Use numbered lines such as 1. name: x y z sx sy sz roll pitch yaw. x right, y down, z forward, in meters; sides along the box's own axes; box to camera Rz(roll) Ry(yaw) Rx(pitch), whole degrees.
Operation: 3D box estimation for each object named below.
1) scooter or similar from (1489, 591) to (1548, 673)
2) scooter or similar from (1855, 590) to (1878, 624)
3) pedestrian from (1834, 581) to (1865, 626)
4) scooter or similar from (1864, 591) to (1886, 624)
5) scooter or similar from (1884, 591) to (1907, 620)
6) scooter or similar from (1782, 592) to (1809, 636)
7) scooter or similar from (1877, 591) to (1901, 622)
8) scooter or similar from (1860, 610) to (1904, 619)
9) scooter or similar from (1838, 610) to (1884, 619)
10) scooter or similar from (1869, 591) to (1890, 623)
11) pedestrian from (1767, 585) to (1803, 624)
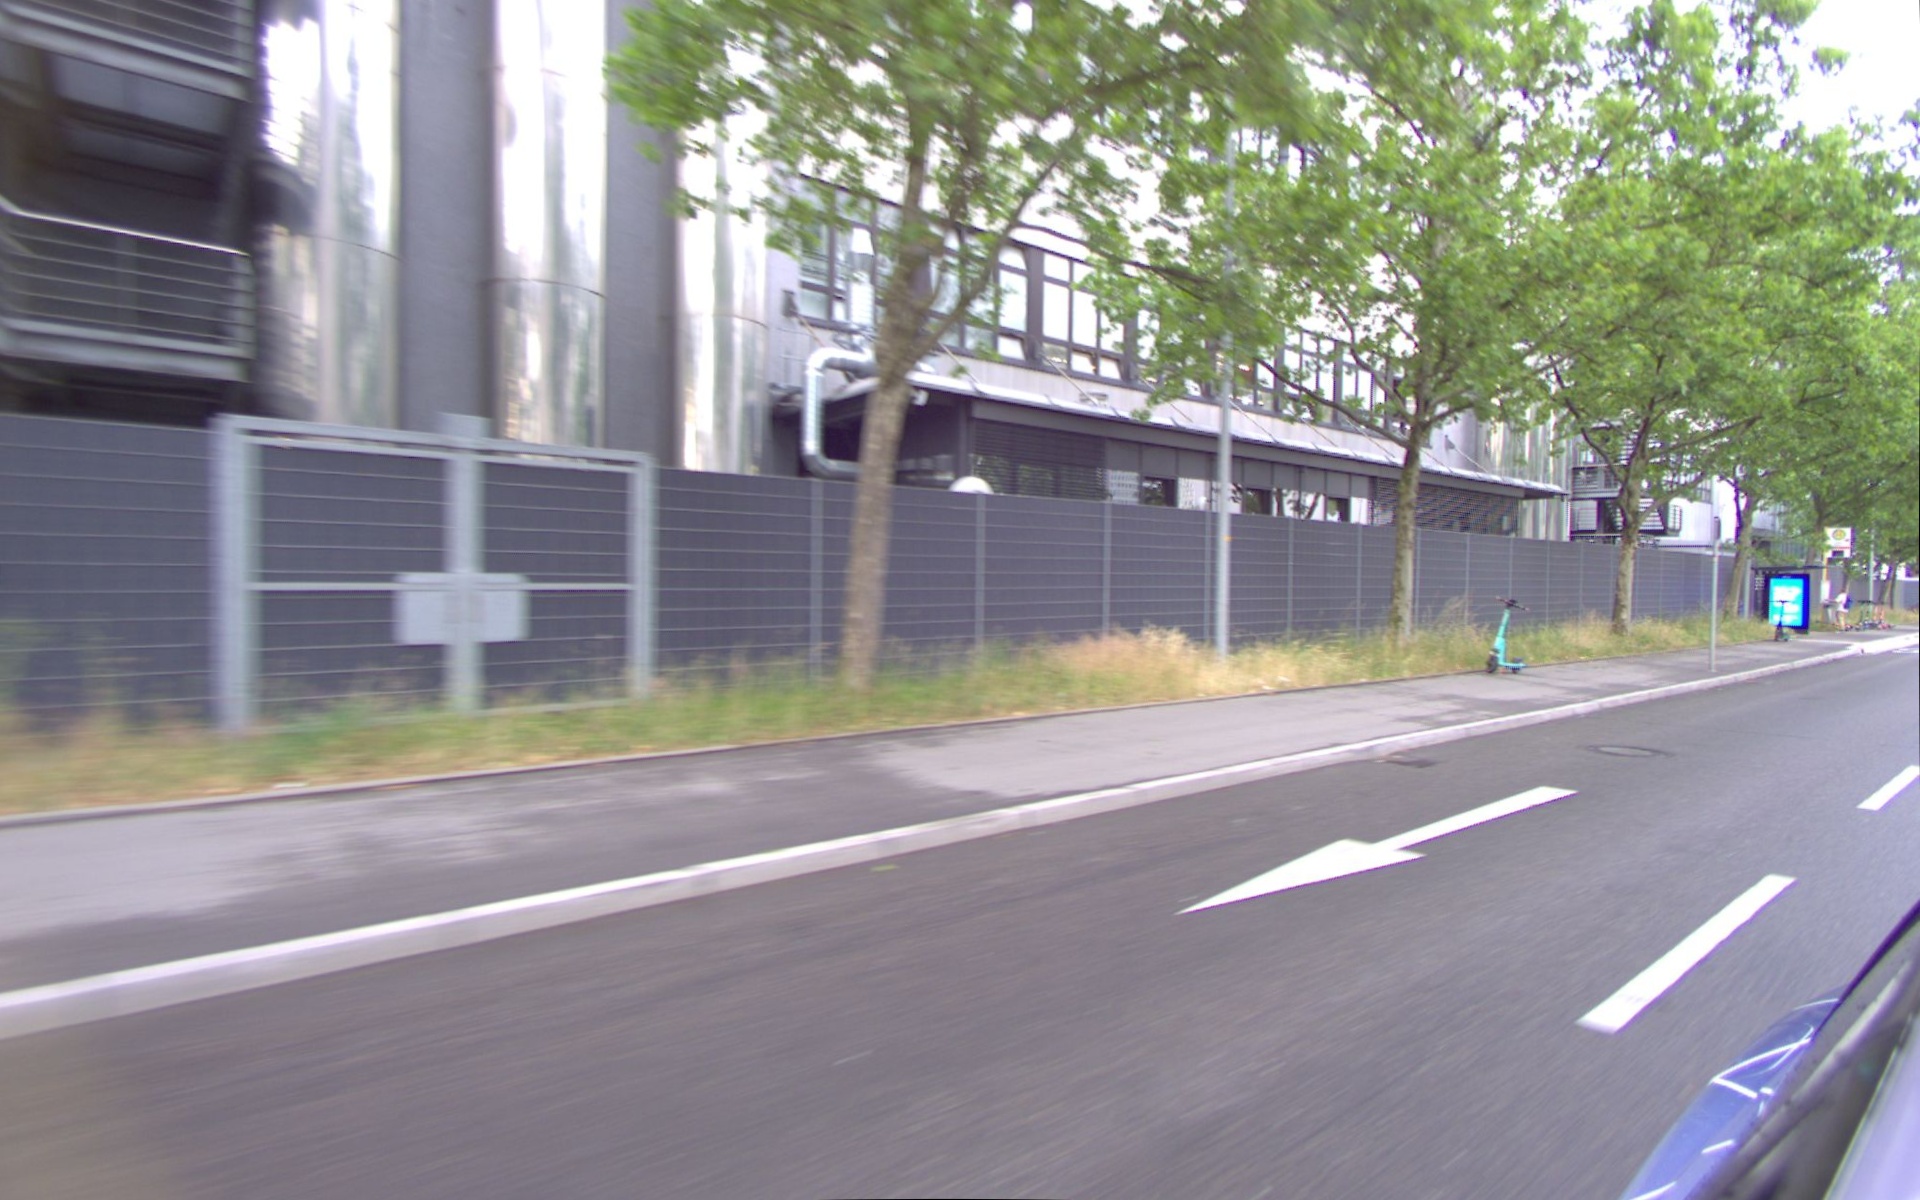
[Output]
1. scooter or similar: 9.050 0.498 16.392 1.087 1.285 0.330 0 1 -32
2. scooter or similar: 36.389 0.275 40.632 1.277 1.311 0.437 0 2 -38
3. pedestrian: 34.431 0.124 39.185 0.717 1.731 0.777 0 1 -41
4. scooter or similar: 37.465 0.300 41.447 1.277 1.311 0.437 0 2 -38
5. scooter or similar: 42.738 0.235 46.234 1.275 1.301 0.437 0 1 -34
6. scooter or similar: 25.473 0.413 30.850 1.222 1.324 0.329 0 1 -37
7. scooter or similar: 40.492 0.281 44.097 1.340 1.311 0.437 0 1 -34
8. scooter or similar: 43.712 0.686 47.990 1.168 0.314 1.194 2 2 21
9. scooter or similar: 41.390 0.667 46.515 1.231 0.349 1.104 0 2 -17
10. scooter or similar: 39.005 0.288 42.934 1.277 1.311 0.437 0 2 -38
11. pedestrian: 30.891 0.161 37.890 0.686 1.433 0.932 0 2 -41
